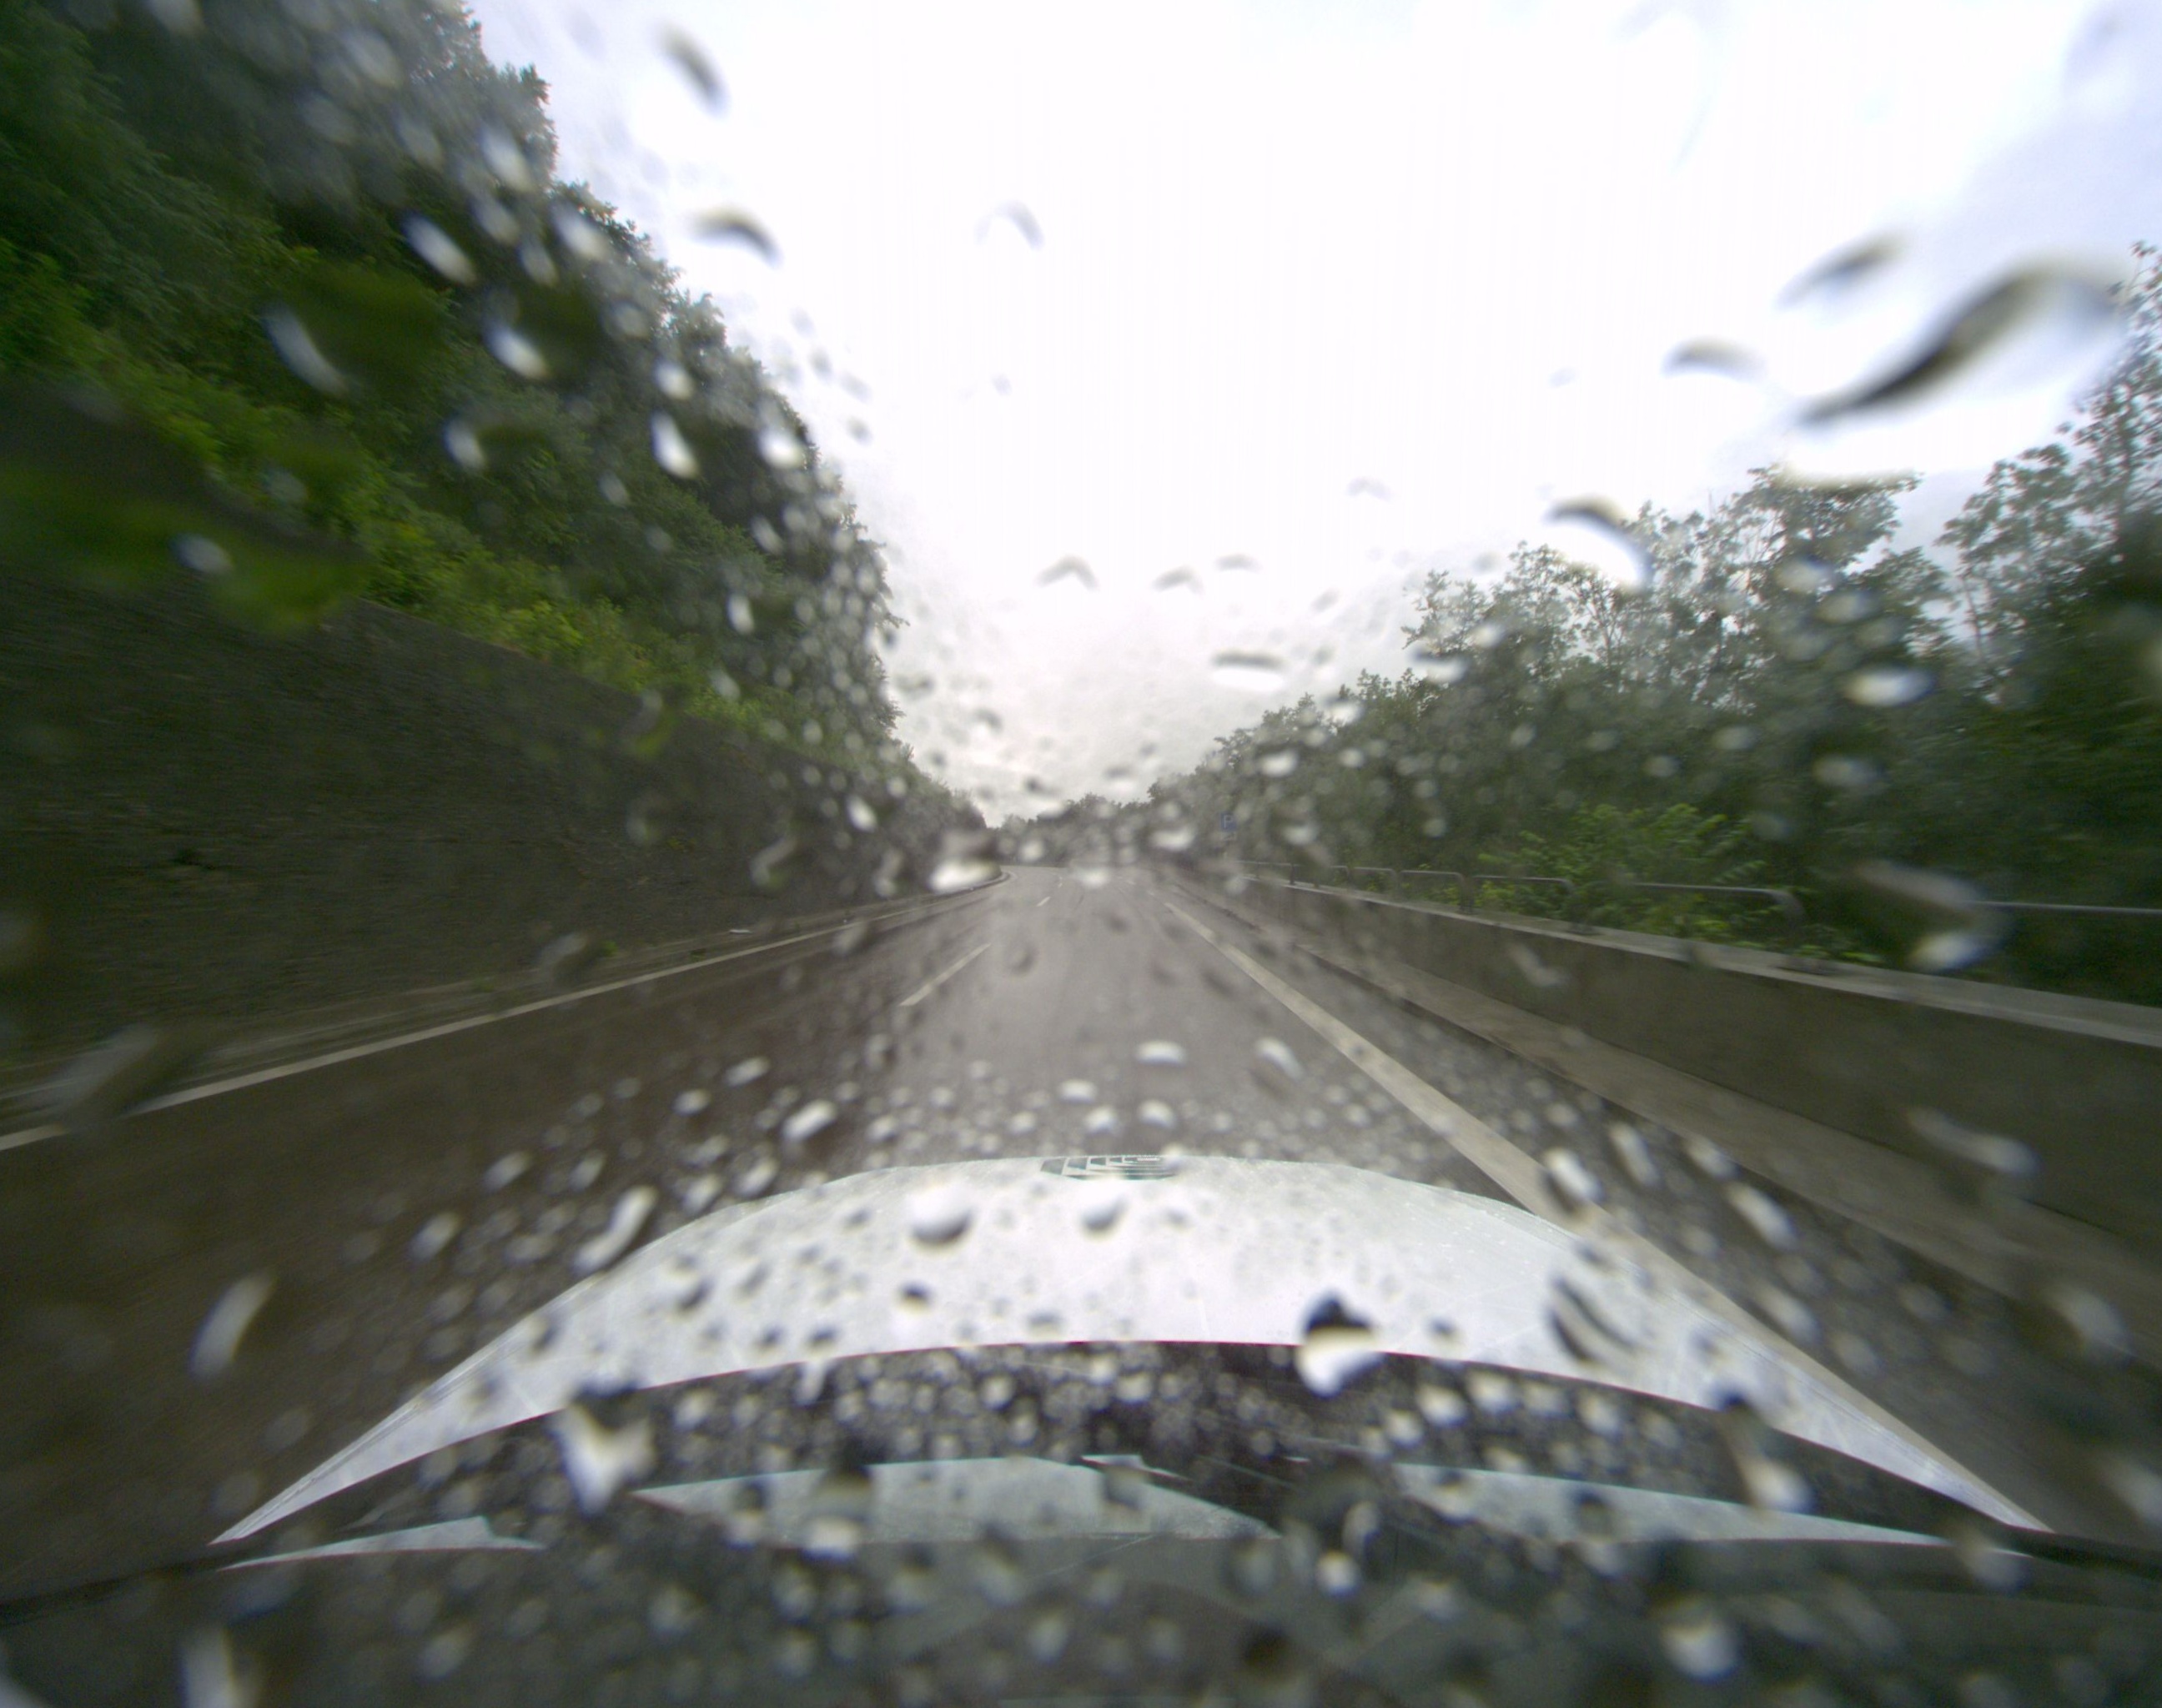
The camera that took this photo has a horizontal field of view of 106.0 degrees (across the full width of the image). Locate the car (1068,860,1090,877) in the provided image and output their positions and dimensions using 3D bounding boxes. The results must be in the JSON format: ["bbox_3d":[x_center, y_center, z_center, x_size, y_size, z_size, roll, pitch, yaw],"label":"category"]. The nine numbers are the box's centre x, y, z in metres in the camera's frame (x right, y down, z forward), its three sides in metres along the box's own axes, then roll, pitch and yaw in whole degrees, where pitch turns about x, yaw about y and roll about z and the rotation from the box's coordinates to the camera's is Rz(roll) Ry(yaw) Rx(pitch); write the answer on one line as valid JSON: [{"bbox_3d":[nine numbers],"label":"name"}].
[{"bbox_3d":[-0.170,1.305,74.680,1.898,1.499,3.997,1,-1,-2],"label":"car"}]
